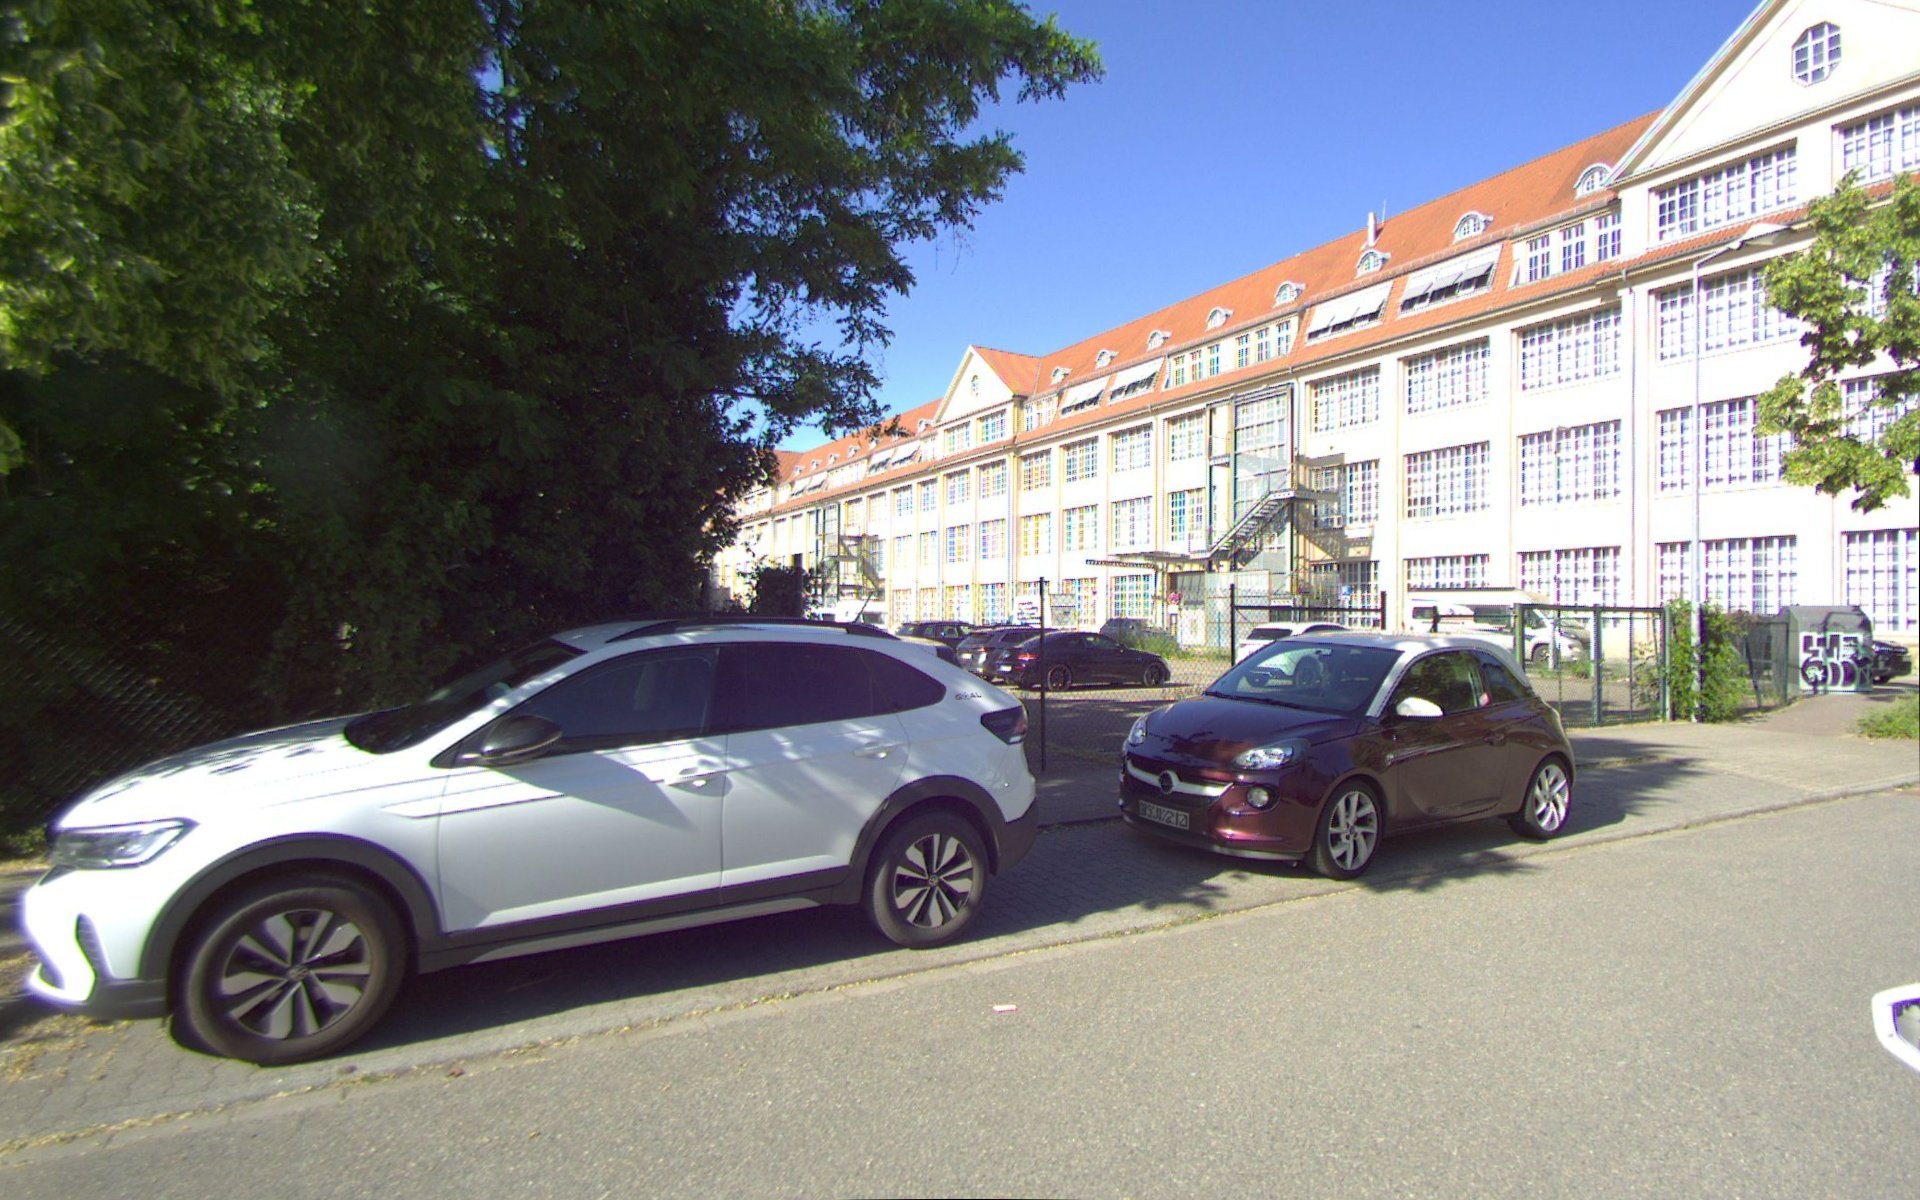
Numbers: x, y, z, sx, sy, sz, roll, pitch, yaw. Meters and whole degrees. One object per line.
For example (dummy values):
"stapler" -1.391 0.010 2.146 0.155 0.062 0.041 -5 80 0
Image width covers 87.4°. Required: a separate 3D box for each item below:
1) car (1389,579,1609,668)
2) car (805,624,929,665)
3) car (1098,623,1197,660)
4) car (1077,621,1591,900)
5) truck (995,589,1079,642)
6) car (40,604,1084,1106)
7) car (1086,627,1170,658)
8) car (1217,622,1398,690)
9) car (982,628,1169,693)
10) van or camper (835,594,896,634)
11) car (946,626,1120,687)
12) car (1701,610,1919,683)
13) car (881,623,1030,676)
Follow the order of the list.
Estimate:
"car" 17.579 0.790 33.175 2.140 2.631 6.233 2 -2 -30
"car" -3.550 1.665 38.422 4.319 1.467 1.959 1 -1 -28
"car" 8.382 1.823 44.815 4.194 1.580 1.882 1 -2 -31
"car" 2.760 0.946 7.265 3.507 1.493 1.708 1 0 -32
"truck" 5.284 1.082 69.977 2.469 3.476 7.077 2 -1 -27
"car" -1.544 0.826 4.867 3.955 1.493 1.831 1 0 -31
"car" 8.066 2.014 48.618 1.829 1.444 4.193 1 -2 -29
"car" 8.989 1.384 25.946 4.370 1.631 1.986 1 -1 -28
"car" 2.883 1.455 24.979 4.319 1.475 1.959 1 -1 -28
"van or camper" -7.303 1.062 77.232 2.693 2.895 5.092 2 -1 -31
"car" 1.985 1.474 27.080 4.319 1.515 1.959 1 -1 -28
"car" 21.903 1.151 25.897 1.975 1.718 4.073 2 -2 -28
"car" -0.121 1.520 31.760 4.319 1.580 1.959 1 -1 -28
